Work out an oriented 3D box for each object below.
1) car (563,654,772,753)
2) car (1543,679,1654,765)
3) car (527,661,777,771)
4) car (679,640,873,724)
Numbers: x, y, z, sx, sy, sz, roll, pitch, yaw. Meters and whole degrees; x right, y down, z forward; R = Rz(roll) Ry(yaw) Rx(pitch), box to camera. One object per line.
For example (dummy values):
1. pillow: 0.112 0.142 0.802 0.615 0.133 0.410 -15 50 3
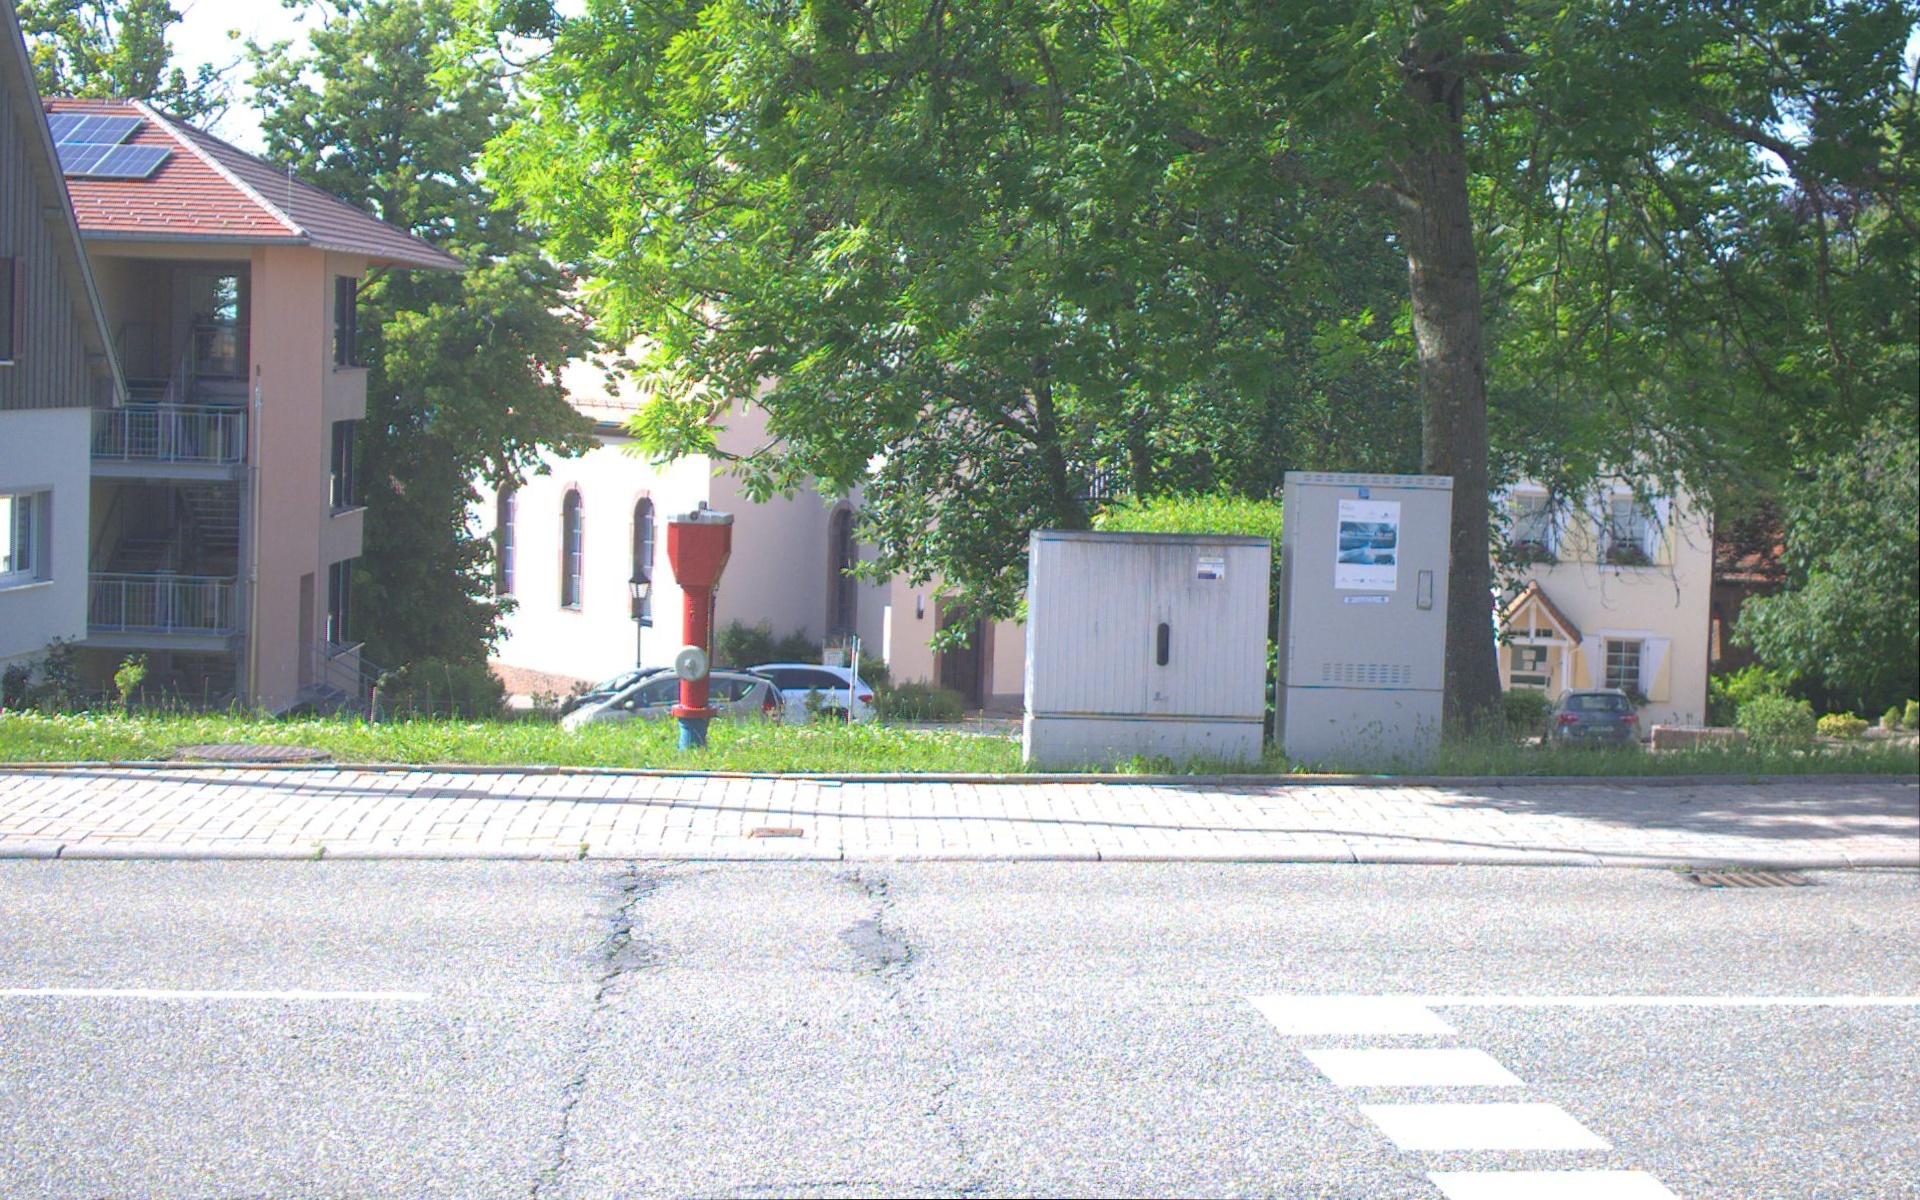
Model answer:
1. car: -5.412 1.898 63.473 3.772 1.752 1.714 1 0 -6
2. car: 12.585 2.383 67.922 1.708 1.536 3.785 1 0 4
3. car: -5.157 1.936 57.648 4.089 1.752 1.714 1 0 -5
4. car: -3.678 1.625 68.494 3.772 1.588 1.714 1 0 -6
